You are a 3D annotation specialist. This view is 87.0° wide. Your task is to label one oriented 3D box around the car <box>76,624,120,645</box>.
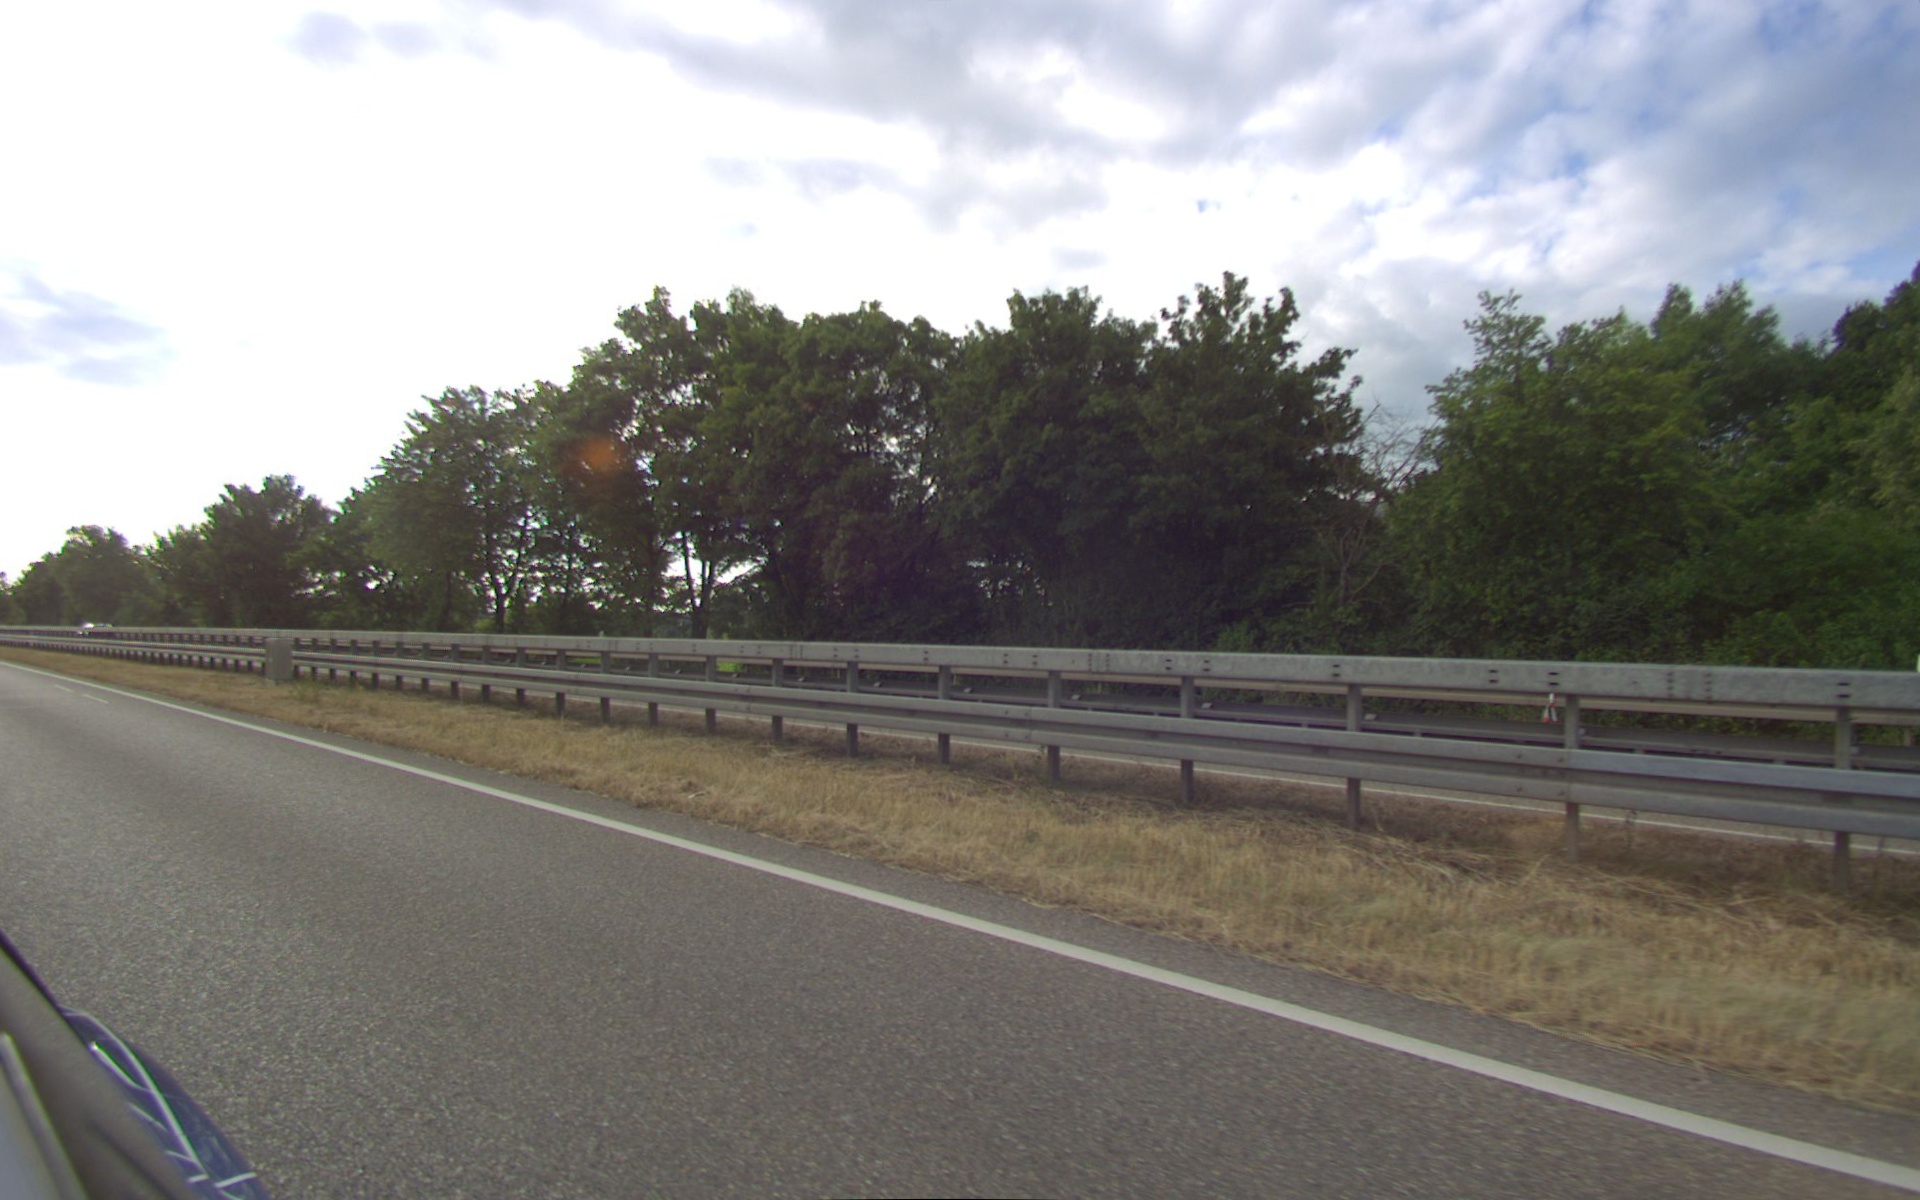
[{"bbox_3d":[-64.221,2.563,75.380,4.585,1.556,1.805,-1,-3,41],"label":"car"}]
